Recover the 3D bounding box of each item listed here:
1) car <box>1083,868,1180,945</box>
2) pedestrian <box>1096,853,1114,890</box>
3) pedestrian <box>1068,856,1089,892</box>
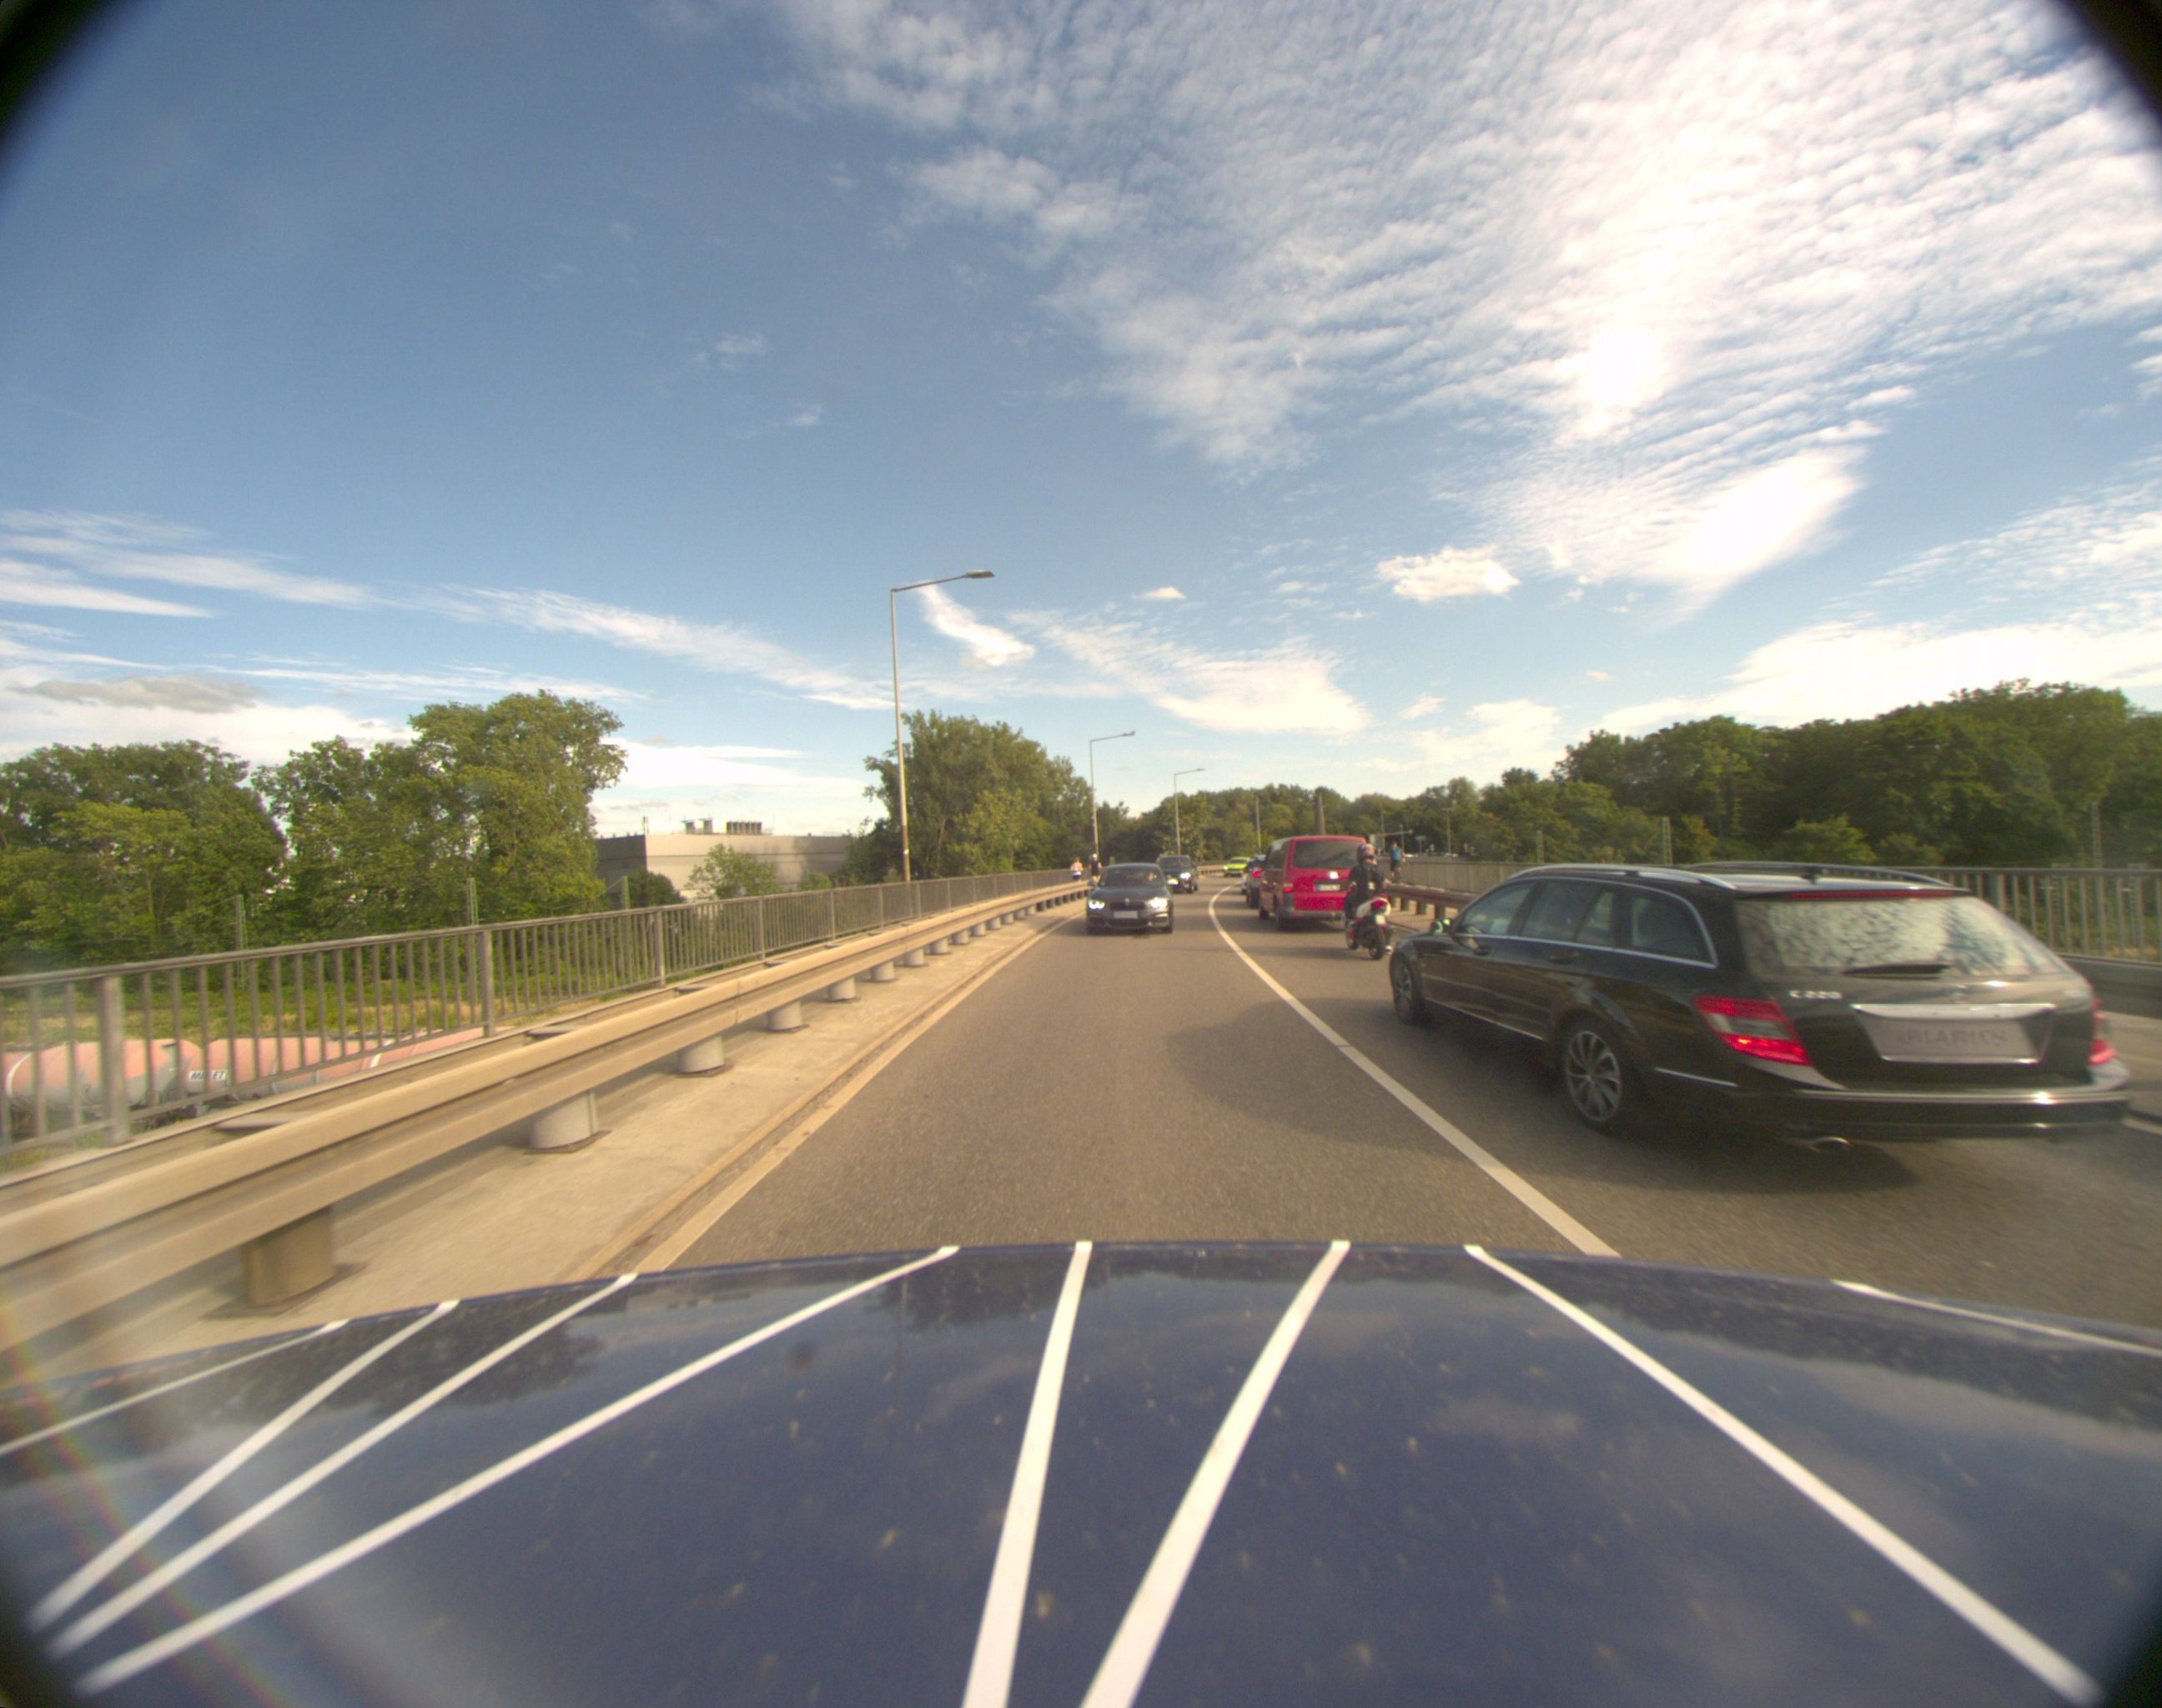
[{"bbox_3d":[1.220,1.041,16.583,1.785,1.396,3.973,0,0,9],"label":"car"},{"bbox_3d":[1.115,0.794,35.038,0.677,1.652,0.866,-1,1,13],"label":"pedestrian"},{"bbox_3d":[-0.096,0.872,32.925,0.677,1.535,0.961,-1,1,13],"label":"pedestrian"}]
